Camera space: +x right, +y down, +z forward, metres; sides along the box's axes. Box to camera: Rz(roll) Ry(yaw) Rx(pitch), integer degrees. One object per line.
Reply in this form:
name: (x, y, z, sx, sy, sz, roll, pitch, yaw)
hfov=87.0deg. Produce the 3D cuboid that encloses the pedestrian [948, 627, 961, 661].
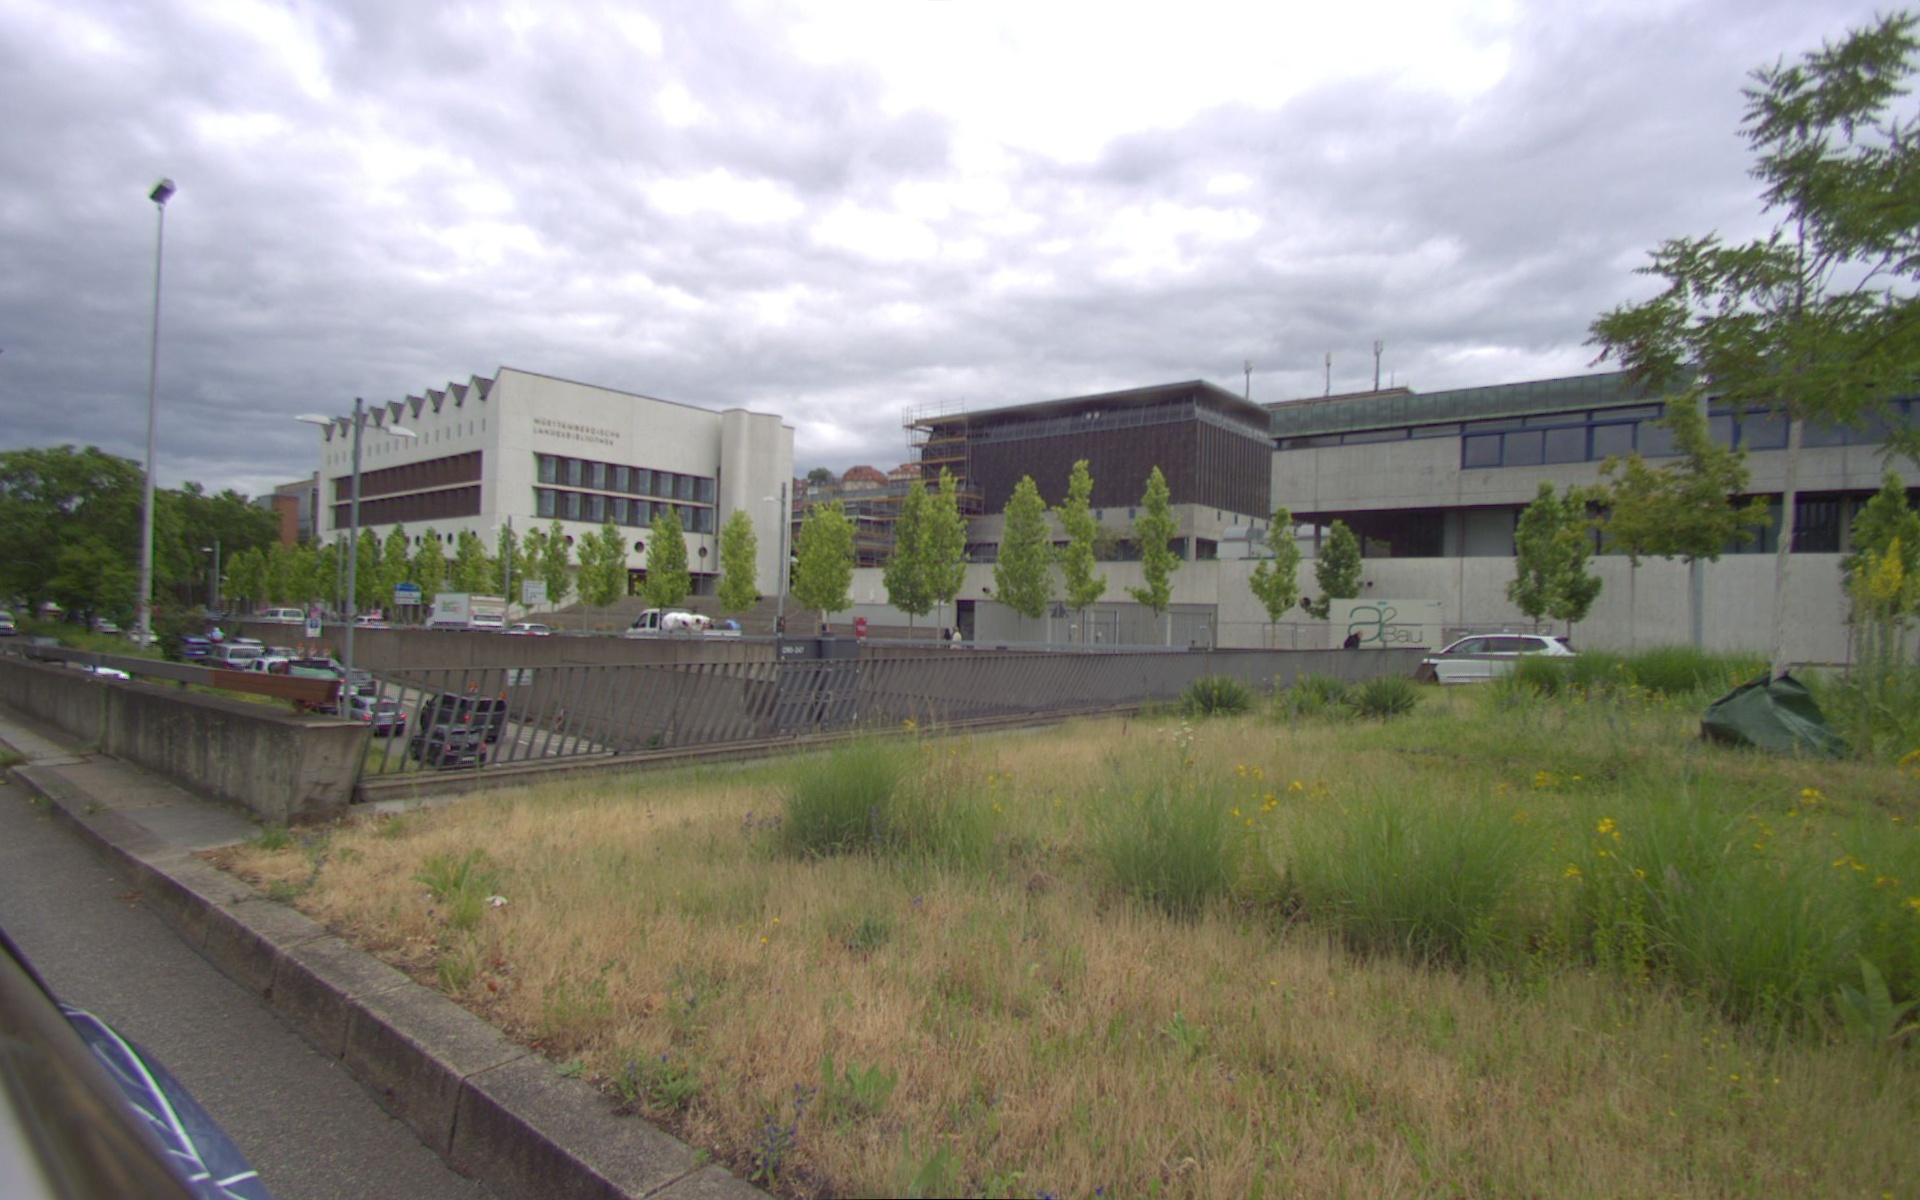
pedestrian: (-0.251, 1.996, 45.749, 0.461, 1.533, 0.424, -1, -1, 35)

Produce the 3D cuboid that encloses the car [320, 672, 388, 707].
car: (-32.405, 4.766, 54.090, 3.998, 1.564, 1.973, -1, -1, 41)

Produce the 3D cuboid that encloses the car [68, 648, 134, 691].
car: (-44.795, 3.587, 52.759, 3.999, 2.029, 1.972, 0, -3, 41)

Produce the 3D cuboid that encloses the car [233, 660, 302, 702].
car: (-36.816, 4.294, 53.803, 3.998, 2.029, 1.973, -2, -6, 41)

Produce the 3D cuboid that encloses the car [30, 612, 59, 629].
car: (-105.905, 2.364, 117.074, 3.997, 2.029, 1.973, -1, -1, 41)

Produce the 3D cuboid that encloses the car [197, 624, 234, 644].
car: (-69.790, 3.170, 94.857, 3.998, 1.830, 1.973, -2, -3, 41)

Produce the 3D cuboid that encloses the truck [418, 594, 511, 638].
truck: (-34.203, 1.158, 69.800, 7.249, 2.809, 3.197, -2, -3, 41)

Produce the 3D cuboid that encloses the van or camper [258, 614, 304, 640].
van or camper: (-55.112, 2.223, 82.071, 4.555, 2.029, 1.973, -2, -3, 41)

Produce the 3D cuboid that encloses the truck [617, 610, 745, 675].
truck: (-13.197, 1.968, 47.466, 7.077, 2.838, 2.437, -2, -3, 43)

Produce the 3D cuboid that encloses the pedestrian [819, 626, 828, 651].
pedestrian: (-8.620, 2.439, 63.891, 0.461, 1.533, 0.377, -1, -1, 35)

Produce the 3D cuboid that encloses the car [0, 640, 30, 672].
car: (-64.597, 3.774, 68.484, 3.998, 2.029, 1.973, -1, -2, 41)

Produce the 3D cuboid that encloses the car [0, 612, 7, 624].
car: (-117.641, 2.178, 123.419, 3.360, 1.497, 1.653, -2, -2, 41)

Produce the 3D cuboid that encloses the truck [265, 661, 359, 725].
truck: (-31.234, 4.404, 48.679, 5.976, 2.712, 2.294, -2, -2, 42)

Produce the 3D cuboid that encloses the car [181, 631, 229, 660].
car: (-55.884, 3.390, 74.902, 3.998, 2.029, 1.973, -2, -6, 41)

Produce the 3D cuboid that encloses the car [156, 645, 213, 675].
car: (-49.319, 3.786, 64.336, 4.279, 1.757, 1.973, -2, -6, 41)

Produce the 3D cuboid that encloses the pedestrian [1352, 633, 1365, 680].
pedestrian: (13.196, 1.880, 33.528, 0.316, 1.533, 0.314, -1, -1, 35)

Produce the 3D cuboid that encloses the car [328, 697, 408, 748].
car: (-25.590, 5.226, 43.720, 3.925, 1.829, 1.771, -2, -2, 40)

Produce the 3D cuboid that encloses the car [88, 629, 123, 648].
car: (-69.783, 3.159, 82.620, 3.360, 1.497, 1.653, -1, -3, 41)

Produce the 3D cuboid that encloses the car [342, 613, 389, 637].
car: (-42.349, 1.791, 72.060, 4.269, 1.586, 1.700, -2, -3, 42)

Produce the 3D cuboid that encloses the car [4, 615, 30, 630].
car: (-100.208, 2.374, 107.523, 3.360, 1.497, 1.653, -2, -2, 41)

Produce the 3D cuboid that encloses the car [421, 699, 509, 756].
car: (-21.598, 5.491, 44.094, 4.227, 1.970, 1.973, -1, -1, 41)

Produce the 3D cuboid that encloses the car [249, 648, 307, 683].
car: (-43.207, 4.146, 64.107, 3.998, 2.029, 1.973, -2, -6, 41)

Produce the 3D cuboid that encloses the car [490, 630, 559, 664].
car: (-24.748, 2.636, 57.409, 4.256, 1.830, 1.973, -2, -3, 41)

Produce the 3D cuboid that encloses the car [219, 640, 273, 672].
car: (-47.927, 3.745, 67.921, 3.998, 2.029, 1.973, -2, -6, 41)

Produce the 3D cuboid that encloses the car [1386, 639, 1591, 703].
car: (14.175, 1.851, 27.311, 4.611, 1.586, 1.700, -2, -3, 42)

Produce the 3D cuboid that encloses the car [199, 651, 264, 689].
car: (-42.075, 4.019, 58.410, 4.330, 2.029, 1.973, -2, -6, 41)

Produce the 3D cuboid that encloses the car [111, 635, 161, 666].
car: (-61.079, 3.751, 74.969, 4.849, 2.148, 1.973, -2, -6, 41)
